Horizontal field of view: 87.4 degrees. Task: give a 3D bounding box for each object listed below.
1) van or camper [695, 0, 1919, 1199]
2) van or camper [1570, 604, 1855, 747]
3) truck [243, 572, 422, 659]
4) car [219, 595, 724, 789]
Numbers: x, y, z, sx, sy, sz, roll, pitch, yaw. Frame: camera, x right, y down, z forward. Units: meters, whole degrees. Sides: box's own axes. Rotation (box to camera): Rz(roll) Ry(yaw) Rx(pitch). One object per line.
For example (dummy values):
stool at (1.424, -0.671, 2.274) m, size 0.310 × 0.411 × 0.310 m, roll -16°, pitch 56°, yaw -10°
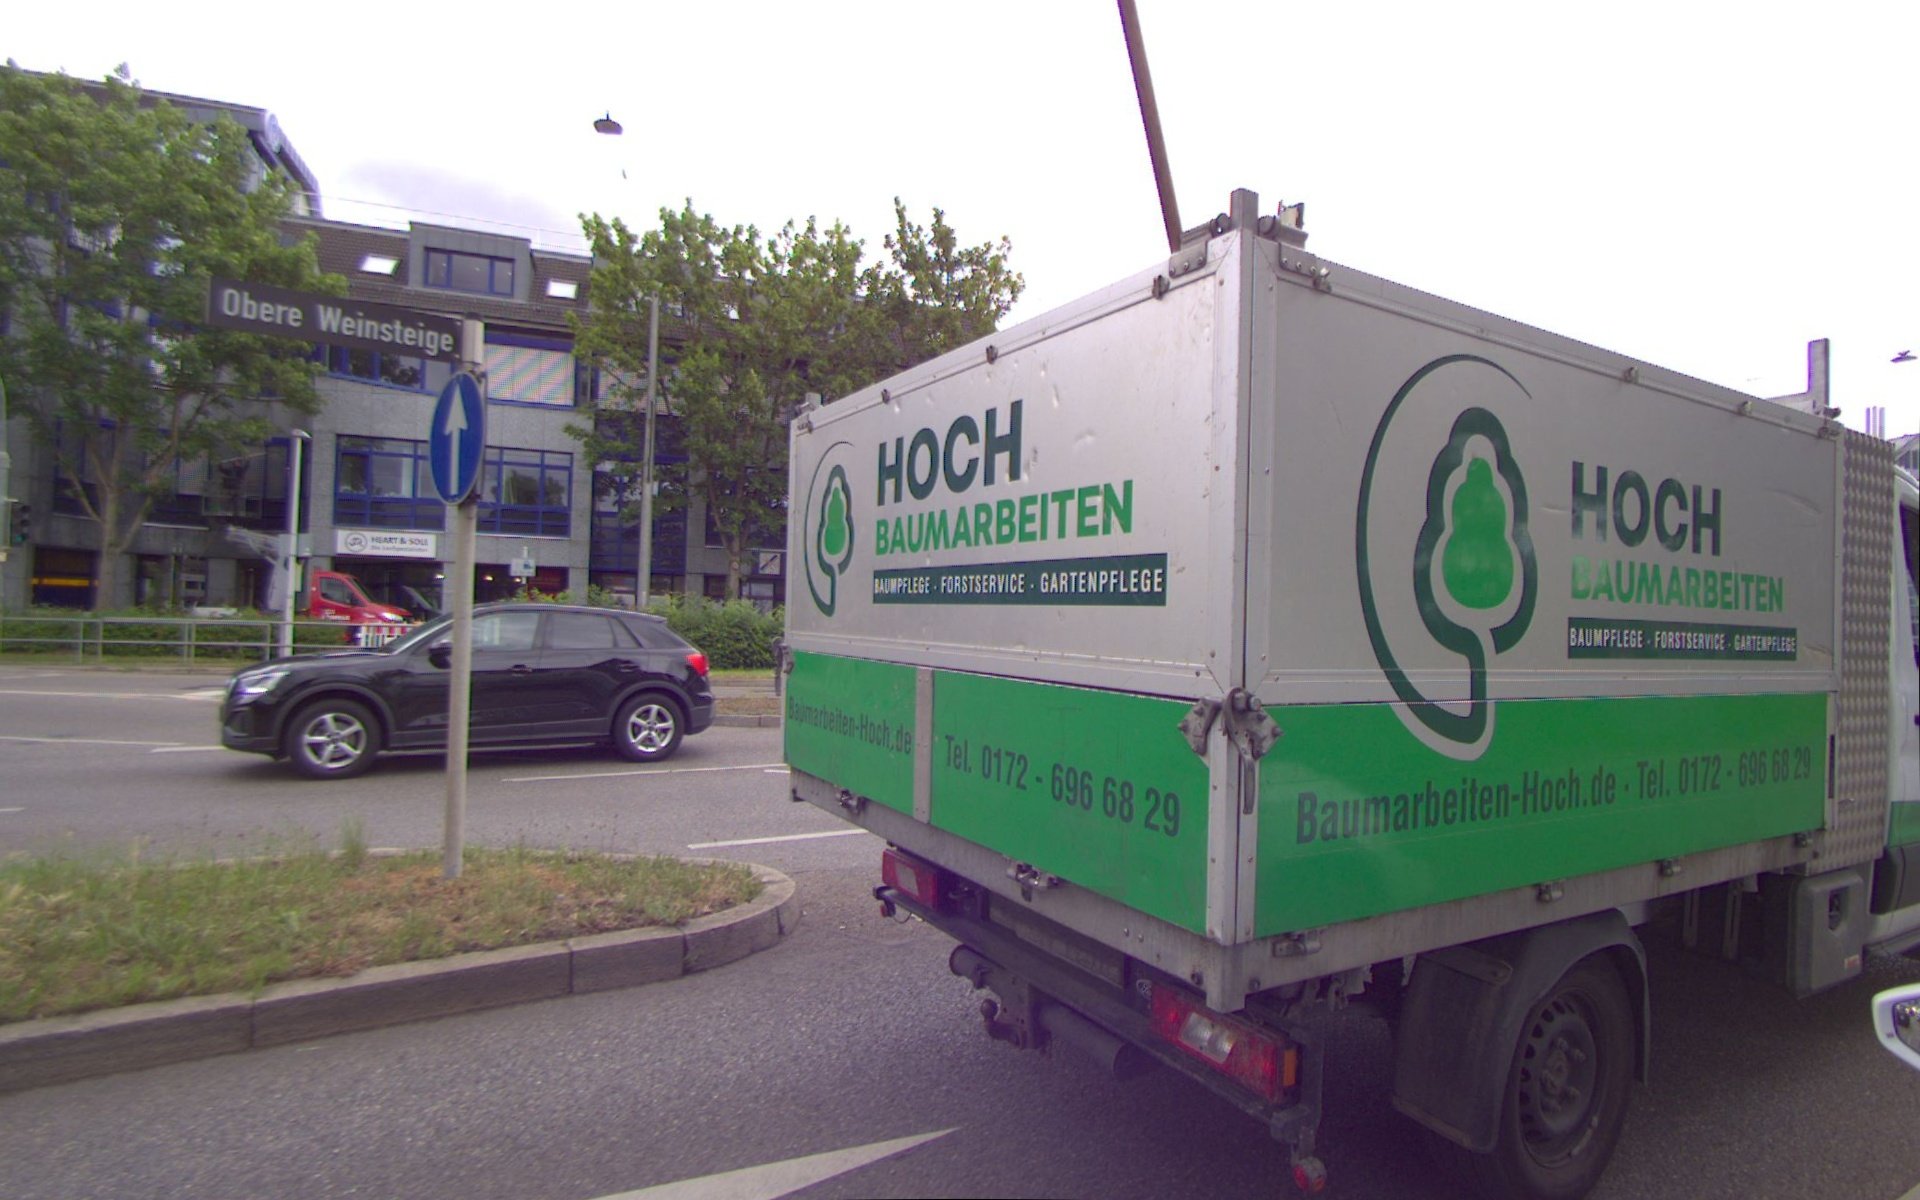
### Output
van or camper at (2.211, 0.253, 4.068) m, size 5.901 × 2.697 × 2.329 m, roll 2°, pitch 0°, yaw -33°
van or camper at (12.247, 1.158, 16.241) m, size 5.190 × 1.963 × 1.916 m, roll 3°, pitch -1°, yaw -32°
truck at (-18.140, 0.407, 29.231) m, size 3.929 × 2.419 × 1.995 m, roll 0°, pitch 1°, yaw -12°
car at (-4.448, 0.756, 9.517) m, size 3.955 × 1.483 × 1.741 m, roll 2°, pitch 0°, yaw -32°
